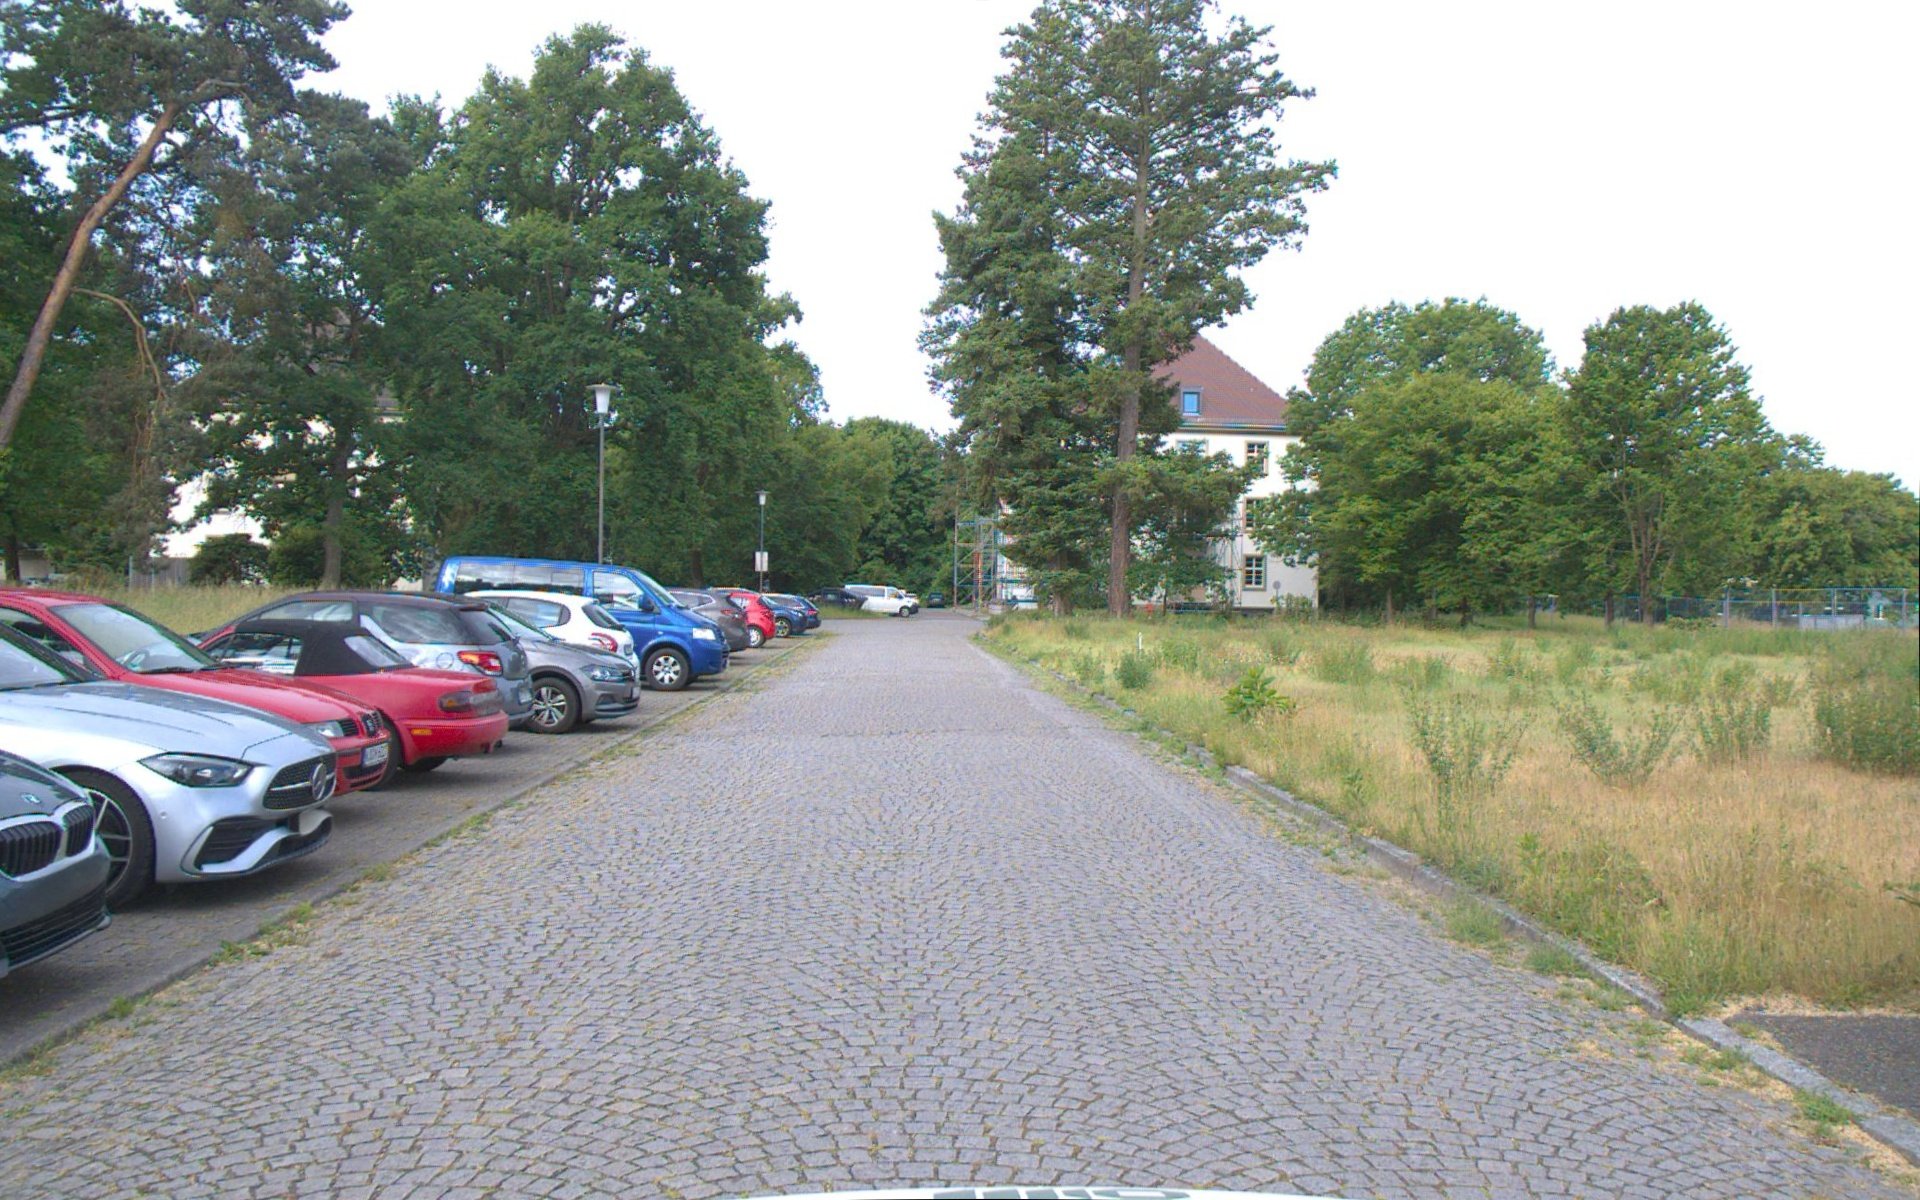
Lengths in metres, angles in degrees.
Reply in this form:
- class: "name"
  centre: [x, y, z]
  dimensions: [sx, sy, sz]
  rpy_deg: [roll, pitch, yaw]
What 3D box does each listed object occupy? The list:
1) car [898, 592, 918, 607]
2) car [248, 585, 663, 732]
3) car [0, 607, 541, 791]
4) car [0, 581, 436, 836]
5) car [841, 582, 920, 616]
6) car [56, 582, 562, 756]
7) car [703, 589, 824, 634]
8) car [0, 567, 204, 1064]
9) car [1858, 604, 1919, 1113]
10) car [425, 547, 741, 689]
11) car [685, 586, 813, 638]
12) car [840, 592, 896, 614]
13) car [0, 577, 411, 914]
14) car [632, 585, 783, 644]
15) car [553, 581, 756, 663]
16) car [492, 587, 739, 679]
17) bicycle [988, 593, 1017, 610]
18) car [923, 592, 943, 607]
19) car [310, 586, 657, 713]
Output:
- class: "car"
  centre: [-5.543, -0.067, 176.030]
  dimensions: [2.076, 1.548, 3.997]
  rpy_deg: [1, 0, -3]
- class: "car"
  centre: [-5.565, 0.617, 18.650]
  dimensions: [4.081, 1.517, 1.864]
  rpy_deg: [1, 0, -1]
- class: "car"
  centre: [-5.617, 0.745, 13.184]
  dimensions: [4.081, 1.289, 1.831]
  rpy_deg: [1, 0, -1]
- class: "car"
  centre: [-5.761, 0.639, 10.803]
  dimensions: [4.083, 1.502, 1.863]
  rpy_deg: [1, 0, -3]
- class: "car"
  centre: [-5.320, -0.068, 110.009]
  dimensions: [5.132, 2.206, 1.998]
  rpy_deg: [1, 0, -5]
- class: "car"
  centre: [-6.075, 0.616, 15.820]
  dimensions: [4.082, 1.508, 1.845]
  rpy_deg: [1, 0, -2]
- class: "car"
  centre: [-7.219, 0.407, 61.079]
  dimensions: [4.215, 1.486, 1.974]
  rpy_deg: [2, 0, -1]
- class: "car"
  centre: [-5.177, 0.648, 5.785]
  dimensions: [4.168, 1.575, 1.933]
  rpy_deg: [1, 0, -6]
- class: "car"
  centre: [4.935, 0.724, 4.536]
  dimensions: [3.994, 1.541, 1.802]
  rpy_deg: [-2, 0, -5]
- class: "car"
  centre: [-6.016, 0.279, 26.890]
  dimensions: [4.687, 2.159, 2.114]
  rpy_deg: [1, 0, -3]
- class: "car"
  centre: [-7.159, 0.382, 56.358]
  dimensions: [4.144, 1.604, 1.886]
  rpy_deg: [2, 0, -4]
- class: "car"
  centre: [-6.268, 0.228, 112.561]
  dimensions: [3.715, 1.420, 1.998]
  rpy_deg: [1, 0, -5]
- class: "car"
  centre: [-5.262, 0.645, 8.443]
  dimensions: [4.288, 1.534, 1.934]
  rpy_deg: [1, 0, -5]
- class: "car"
  centre: [-6.983, 0.391, 46.111]
  dimensions: [3.975, 1.552, 1.903]
  rpy_deg: [1, 0, -4]
- class: "car"
  centre: [-6.532, 0.458, 35.754]
  dimensions: [4.085, 1.650, 1.985]
  rpy_deg: [1, 0, -5]
- class: "car"
  centre: [-6.068, 0.571, 29.479]
  dimensions: [4.084, 1.536, 1.780]
  rpy_deg: [1, 0, -5]
- class: "bicycle"
  centre: [3.280, 0.149, 127.611]
  dimensions: [2.194, 1.276, 0.777]
  rpy_deg: [1, 0, 0]
- class: "car"
  centre: [-2.932, -0.042, 176.441]
  dimensions: [1.912, 1.548, 3.997]
  rpy_deg: [1, 0, -4]
- class: "car"
  centre: [-6.116, 0.614, 21.590]
  dimensions: [3.985, 1.523, 1.845]
  rpy_deg: [1, 0, -2]
